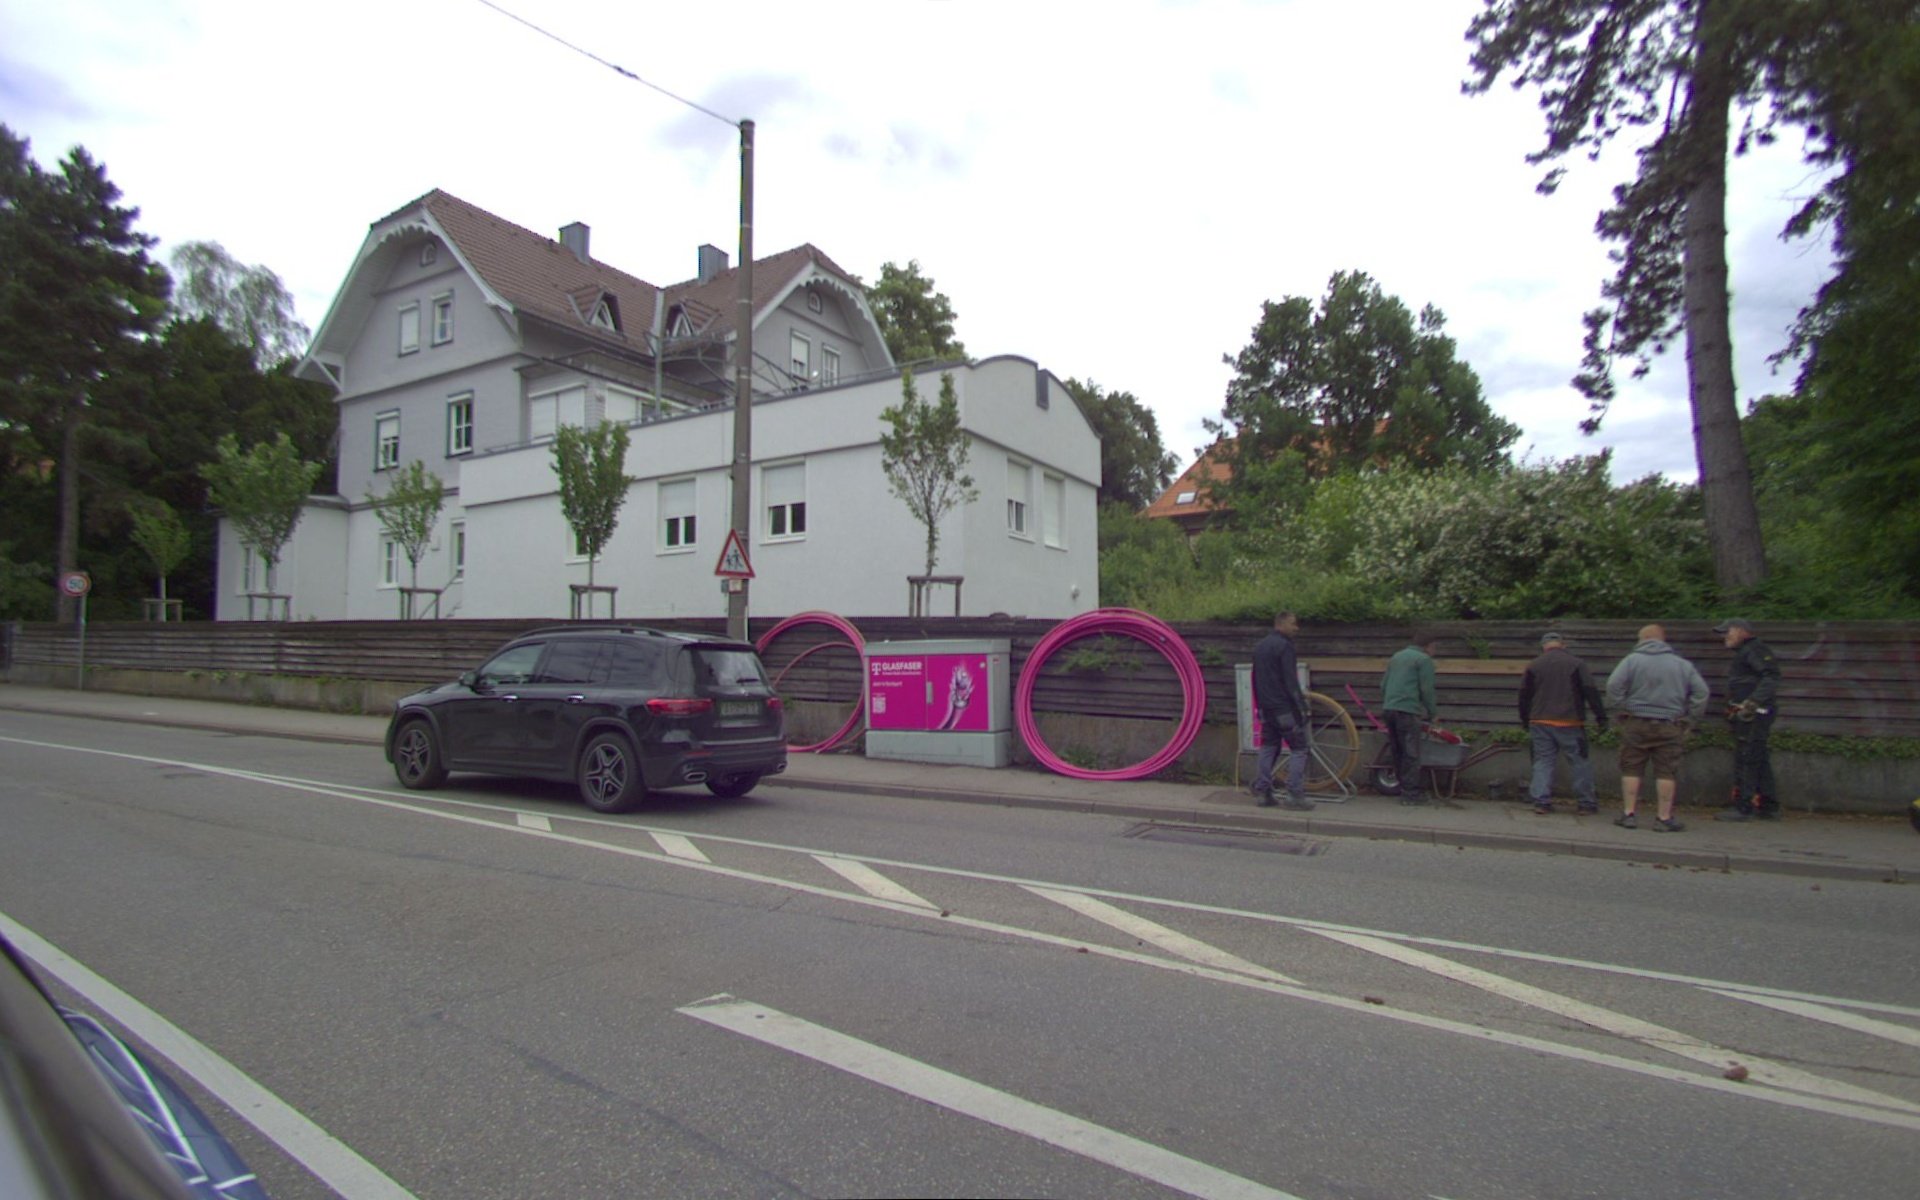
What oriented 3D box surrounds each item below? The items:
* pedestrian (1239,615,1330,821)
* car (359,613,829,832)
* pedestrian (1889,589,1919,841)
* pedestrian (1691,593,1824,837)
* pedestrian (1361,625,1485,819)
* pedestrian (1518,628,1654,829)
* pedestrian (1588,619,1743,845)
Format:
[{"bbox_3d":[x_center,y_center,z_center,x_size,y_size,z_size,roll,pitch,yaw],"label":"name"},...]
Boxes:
[{"bbox_3d":[3.050,1.087,9.572,0.606,1.851,0.752,1,-3,1],"label":"pedestrian"},{"bbox_3d":[-3.776,1.121,10.363,4.499,1.811,1.981,-1,-5,28],"label":"car"},{"bbox_3d":[8.227,0.928,8.006,1.014,2.029,0.705,0,-3,15],"label":"pedestrian"},{"bbox_3d":[7.038,0.980,8.975,0.810,2.029,0.699,-1,-3,33],"label":"pedestrian"},{"bbox_3d":[4.461,1.148,9.812,0.857,1.777,0.816,0,-3,7],"label":"pedestrian"},{"bbox_3d":[5.721,1.146,9.282,0.683,1.747,0.754,2,-3,-16],"label":"pedestrian"},{"bbox_3d":[5.861,1.058,8.464,0.685,1.767,0.870,0,-3,6],"label":"pedestrian"}]
